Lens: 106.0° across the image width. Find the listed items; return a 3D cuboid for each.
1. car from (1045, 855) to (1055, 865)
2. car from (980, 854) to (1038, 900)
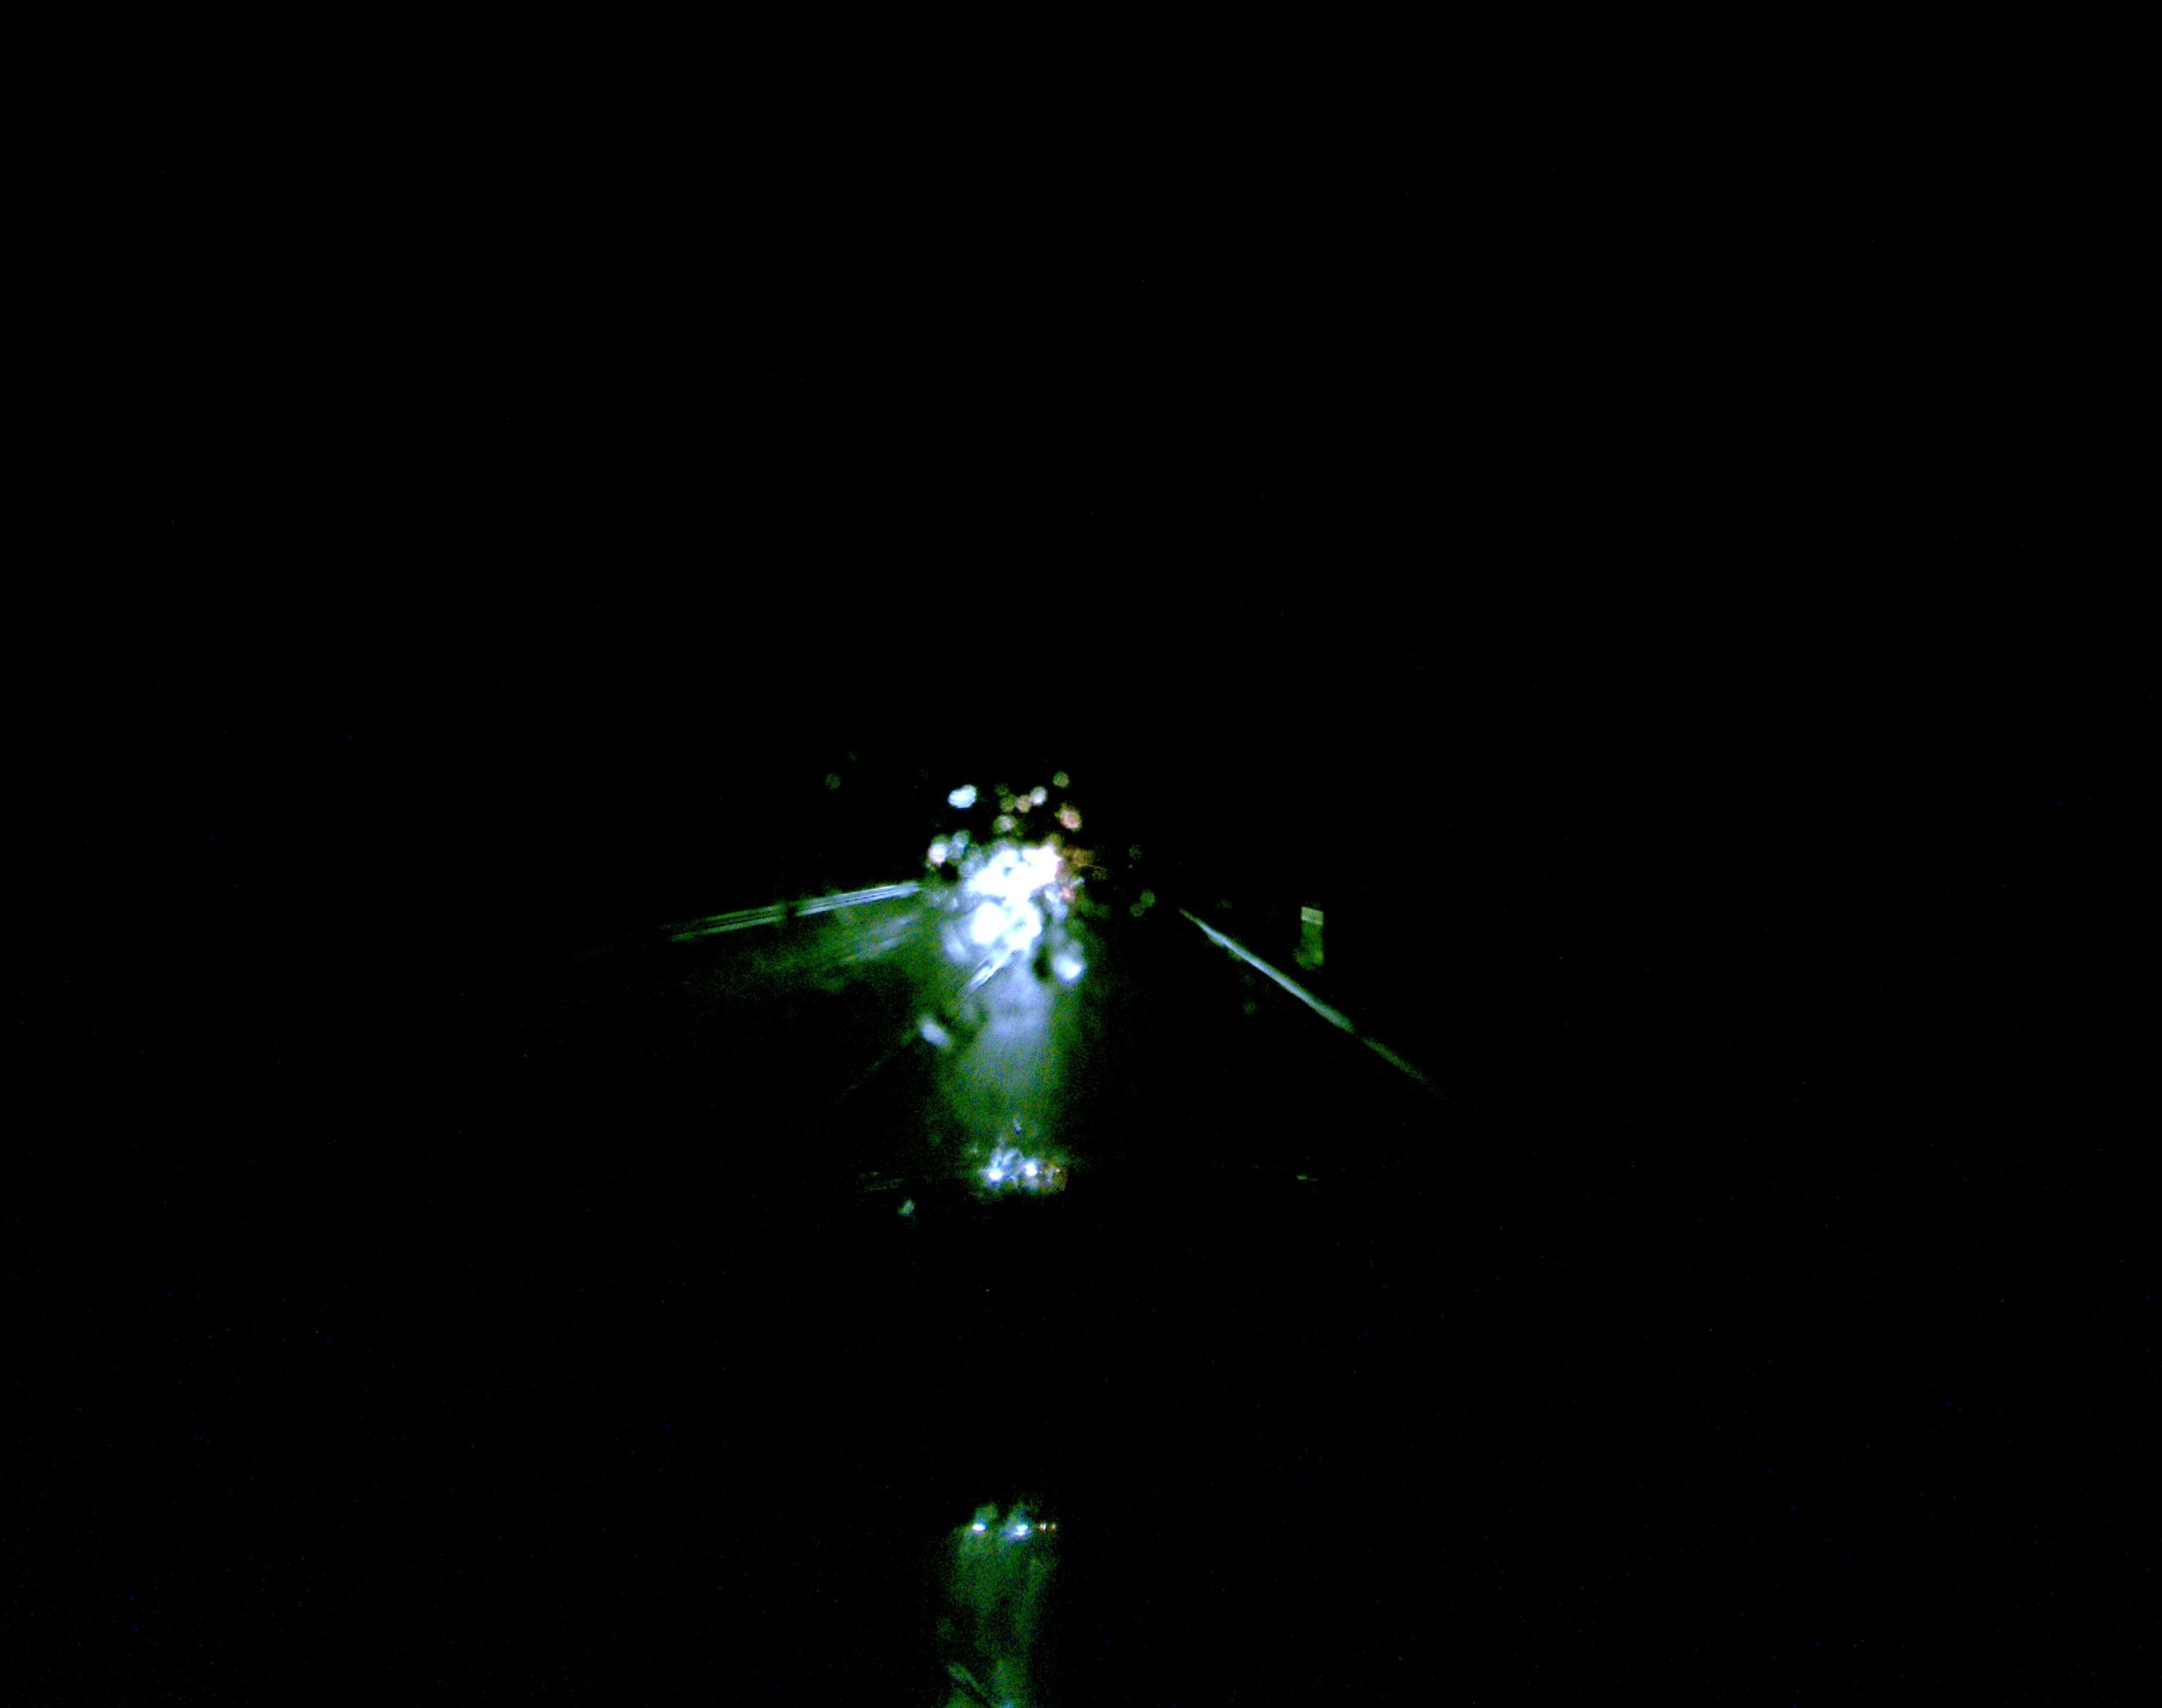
[{"bbox_3d":[-5.422,1.075,144.335,1.767,1.675,4.051,0,-1,-2],"label":"car"},{"bbox_3d":[-2.659,0.831,30.935,1.812,1.555,3.870,-2,-1,0],"label":"car"}]
